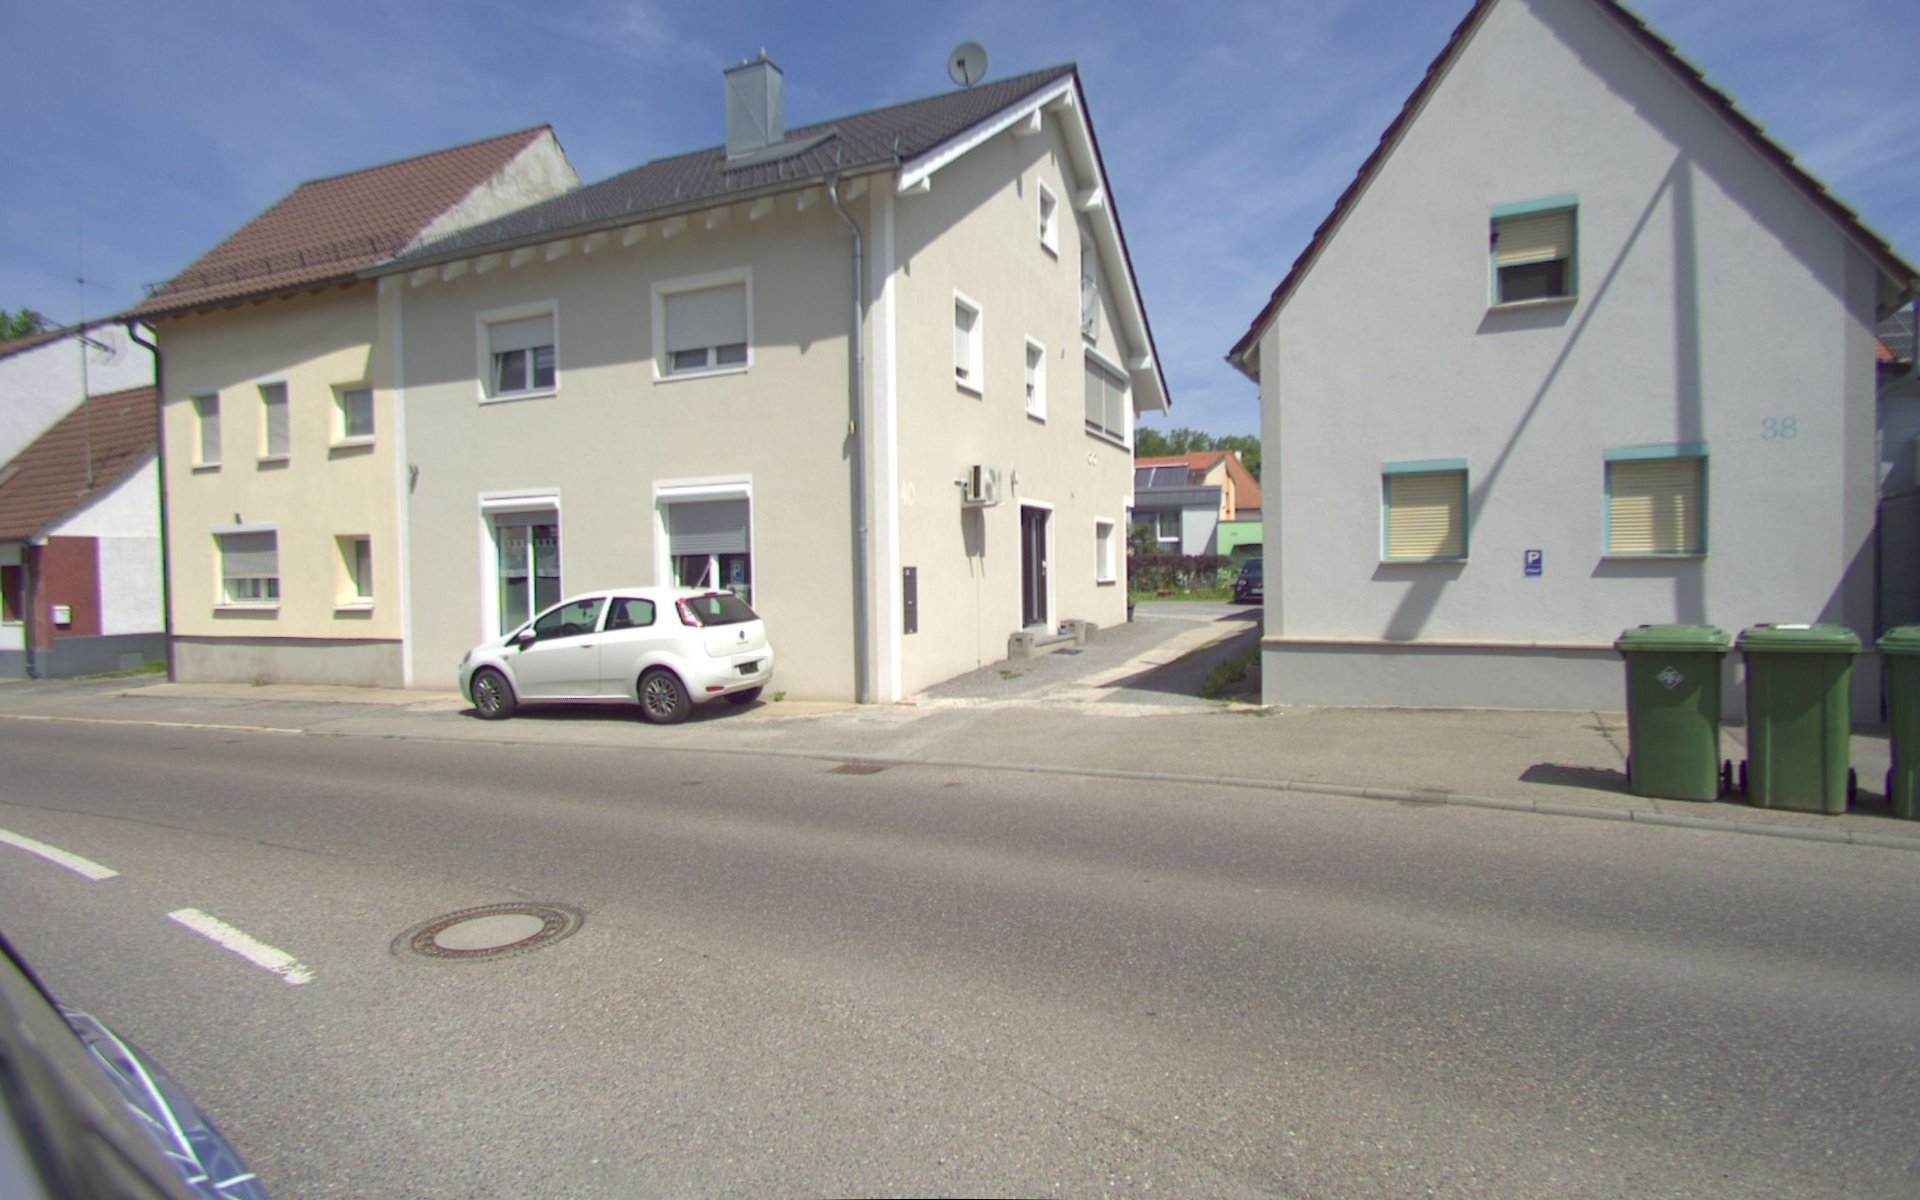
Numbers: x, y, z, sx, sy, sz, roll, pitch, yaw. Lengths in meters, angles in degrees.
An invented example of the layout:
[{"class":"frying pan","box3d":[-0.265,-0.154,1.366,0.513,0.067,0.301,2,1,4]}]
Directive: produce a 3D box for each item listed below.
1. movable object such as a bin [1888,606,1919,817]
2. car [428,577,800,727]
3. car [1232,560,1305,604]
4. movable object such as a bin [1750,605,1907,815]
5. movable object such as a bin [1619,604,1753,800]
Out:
[{"class":"movable object such as a bin","box3d":[5.575,0.595,5.482,0.724,1.085,0.674,-2,3,37]},{"class":"car","box3d":[-4.132,0.571,12.146,3.973,1.513,1.813,-1,2,22]},{"class":"car","box3d":[10.059,-0.593,32.817,1.762,1.308,4.004,-1,1,24]},{"class":"movable object such as a bin","box3d":[5.065,0.604,5.943,0.632,1.085,0.724,-2,3,37]},{"class":"movable object such as a bin","box3d":[4.552,0.604,6.348,0.631,1.101,0.635,-2,3,37]}]
